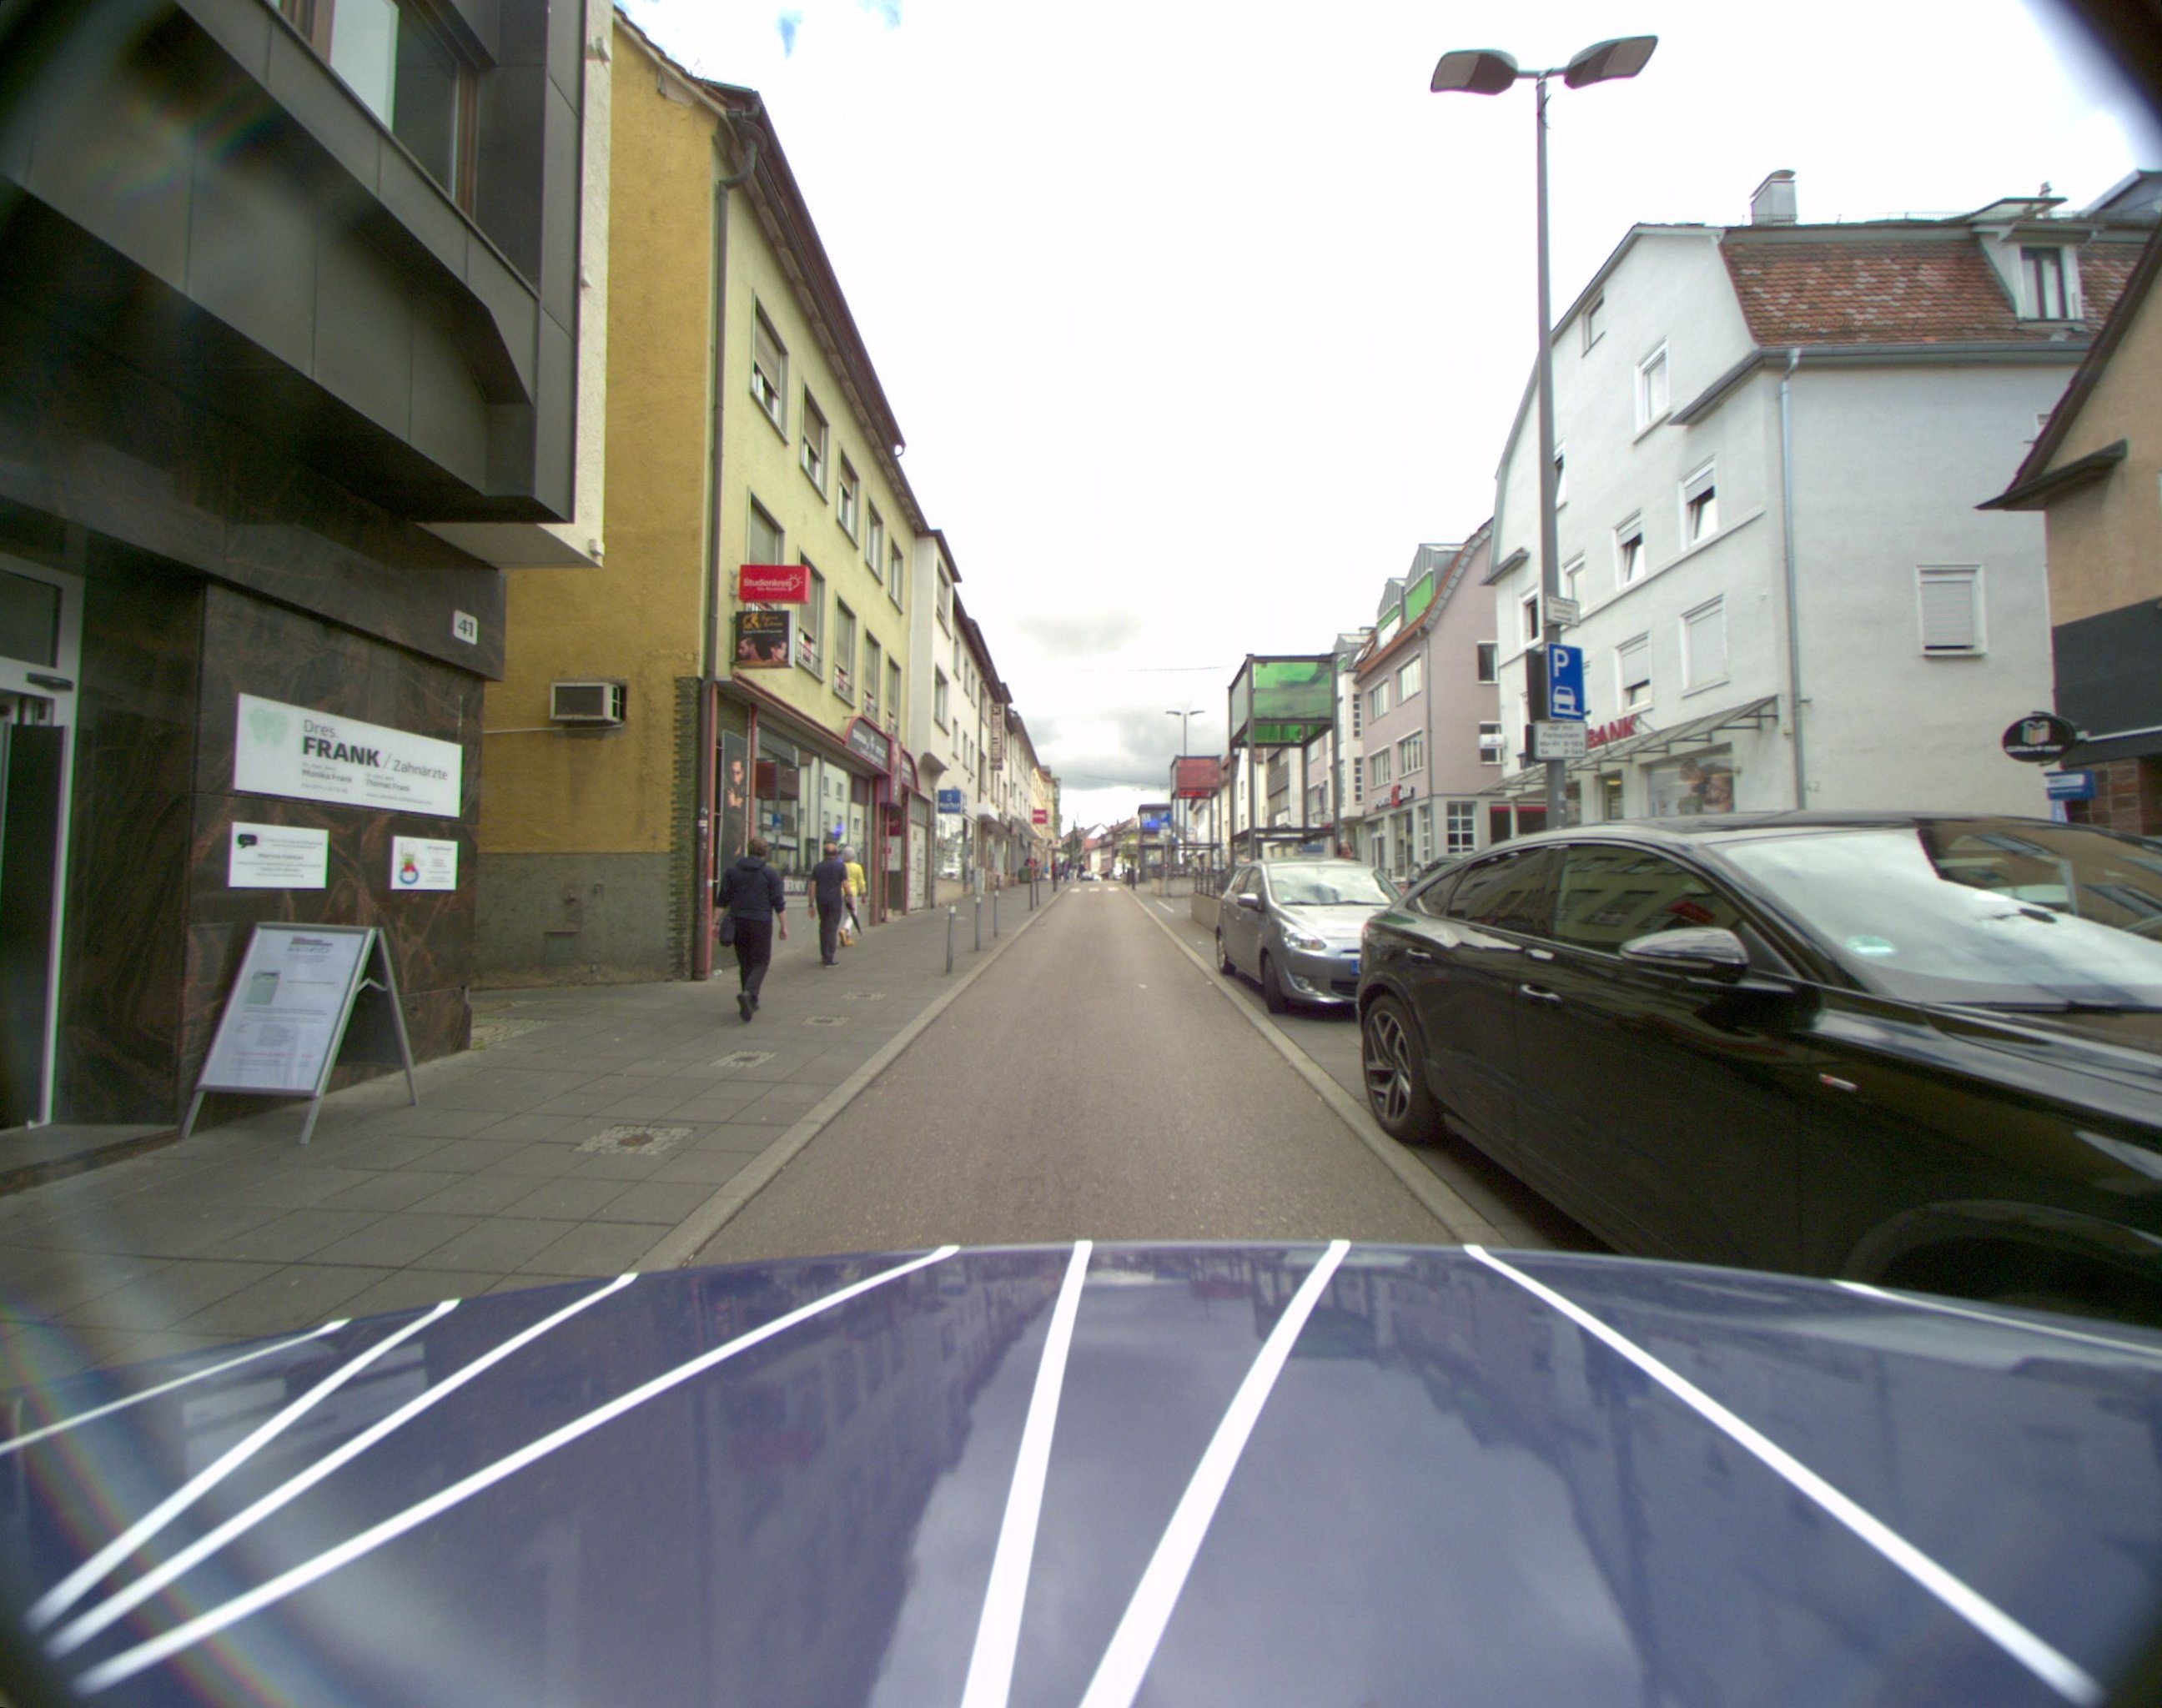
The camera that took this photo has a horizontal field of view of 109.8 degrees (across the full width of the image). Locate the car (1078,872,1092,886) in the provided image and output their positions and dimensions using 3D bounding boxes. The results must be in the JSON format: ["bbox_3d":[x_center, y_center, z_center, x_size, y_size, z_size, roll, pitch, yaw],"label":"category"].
[{"bbox_3d":[0.589,3.293,99.812,1.741,1.608,3.843,-2,0,1],"label":"car"}]

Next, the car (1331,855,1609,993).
[{"bbox_3d":[5.093,0.797,10.703,1.743,1.534,4.193,0,0,0],"label":"car"}]

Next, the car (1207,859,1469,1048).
[{"bbox_3d":[2.488,0.860,8.291,1.624,1.523,3.670,-2,0,1],"label":"car"}]

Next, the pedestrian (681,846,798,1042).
[{"bbox_3d":[-3.209,0.809,7.203,0.713,1.743,0.787,1,1,1],"label":"pedestrian"}]

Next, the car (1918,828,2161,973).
[{"bbox_3d":[15.410,0.588,11.102,4.080,1.862,1.884,-3,0,3],"label":"car"}]

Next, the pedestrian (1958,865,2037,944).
[{"bbox_3d":[15.682,0.844,13.014,0.627,1.311,0.607,-1,0,0],"label":"pedestrian"}]

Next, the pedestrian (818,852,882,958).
[{"bbox_3d":[-3.700,0.791,12.228,0.713,1.621,0.835,2,0,1],"label":"pedestrian"}]

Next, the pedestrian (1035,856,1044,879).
[{"bbox_3d":[-3.148,1.037,57.528,0.627,1.716,0.607,2,0,-4],"label":"pedestrian"}]

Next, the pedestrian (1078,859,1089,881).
[{"bbox_3d":[0.195,1.241,59.653,0.759,1.715,0.756,3,0,-4],"label":"pedestrian"}]

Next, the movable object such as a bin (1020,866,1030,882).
[{"bbox_3d":[-3.560,1.261,48.166,0.568,0.951,0.498,0,0,1],"label":"movable object such as a bin"}]

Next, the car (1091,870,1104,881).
[{"bbox_3d":[2.606,3.407,120.149,1.741,1.608,3.999,-2,0,-1],"label":"car"}]

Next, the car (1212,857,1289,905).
[{"bbox_3d":[5.639,0.865,25.679,1.573,1.466,3.855,0,0,-2],"label":"car"}]

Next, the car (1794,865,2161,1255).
[{"bbox_3d":[5.043,0.845,2.456,1.743,1.467,3.883,3,0,0],"label":"car"}]

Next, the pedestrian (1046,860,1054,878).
[{"bbox_3d":[-2.908,1.423,70.859,0.627,1.620,0.607,-2,1,-4],"label":"pedestrian"}]

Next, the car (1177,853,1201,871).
[{"bbox_3d":[9.936,0.677,70.026,1.683,1.562,4.122,-2,0,1],"label":"car"}]

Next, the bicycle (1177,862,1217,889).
[{"bbox_3d":[5.319,0.968,34.860,1.782,1.216,0.460,0,1,0],"label":"bicycle"}]

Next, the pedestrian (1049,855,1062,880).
[{"bbox_3d":[-1.744,0.907,51.631,0.740,1.660,0.627,2,0,-8],"label":"pedestrian"}]

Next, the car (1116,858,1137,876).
[{"bbox_3d":[4.038,1.162,68.201,1.754,1.452,3.601,-2,0,2],"label":"car"}]

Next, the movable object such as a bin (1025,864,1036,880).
[{"bbox_3d":[-3.297,1.179,49.498,0.652,1.074,0.673,0,0,1],"label":"movable object such as a bin"}]

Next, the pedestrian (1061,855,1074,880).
[{"bbox_3d":[-0.901,0.889,51.621,0.740,1.660,0.786,2,0,-8],"label":"pedestrian"}]

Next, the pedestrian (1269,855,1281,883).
[{"bbox_3d":[12.162,0.938,47.564,0.592,1.706,0.513,-2,1,1],"label":"pedestrian"}]

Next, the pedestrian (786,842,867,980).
[{"bbox_3d":[-3.420,0.743,10.277,0.713,1.743,0.785,4,0,1],"label":"pedestrian"}]

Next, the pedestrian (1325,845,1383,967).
[{"bbox_3d":[3.856,0.713,10.779,0.535,1.662,0.901,-1,0,4],"label":"pedestrian"}]

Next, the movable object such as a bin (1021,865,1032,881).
[{"bbox_3d":[-3.497,1.203,48.778,0.670,1.024,0.560,0,0,1],"label":"movable object such as a bin"}]

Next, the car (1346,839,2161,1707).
[{"bbox_3d":[2.514,0.801,2.168,1.961,1.630,4.314,-2,0,0],"label":"car"}]
